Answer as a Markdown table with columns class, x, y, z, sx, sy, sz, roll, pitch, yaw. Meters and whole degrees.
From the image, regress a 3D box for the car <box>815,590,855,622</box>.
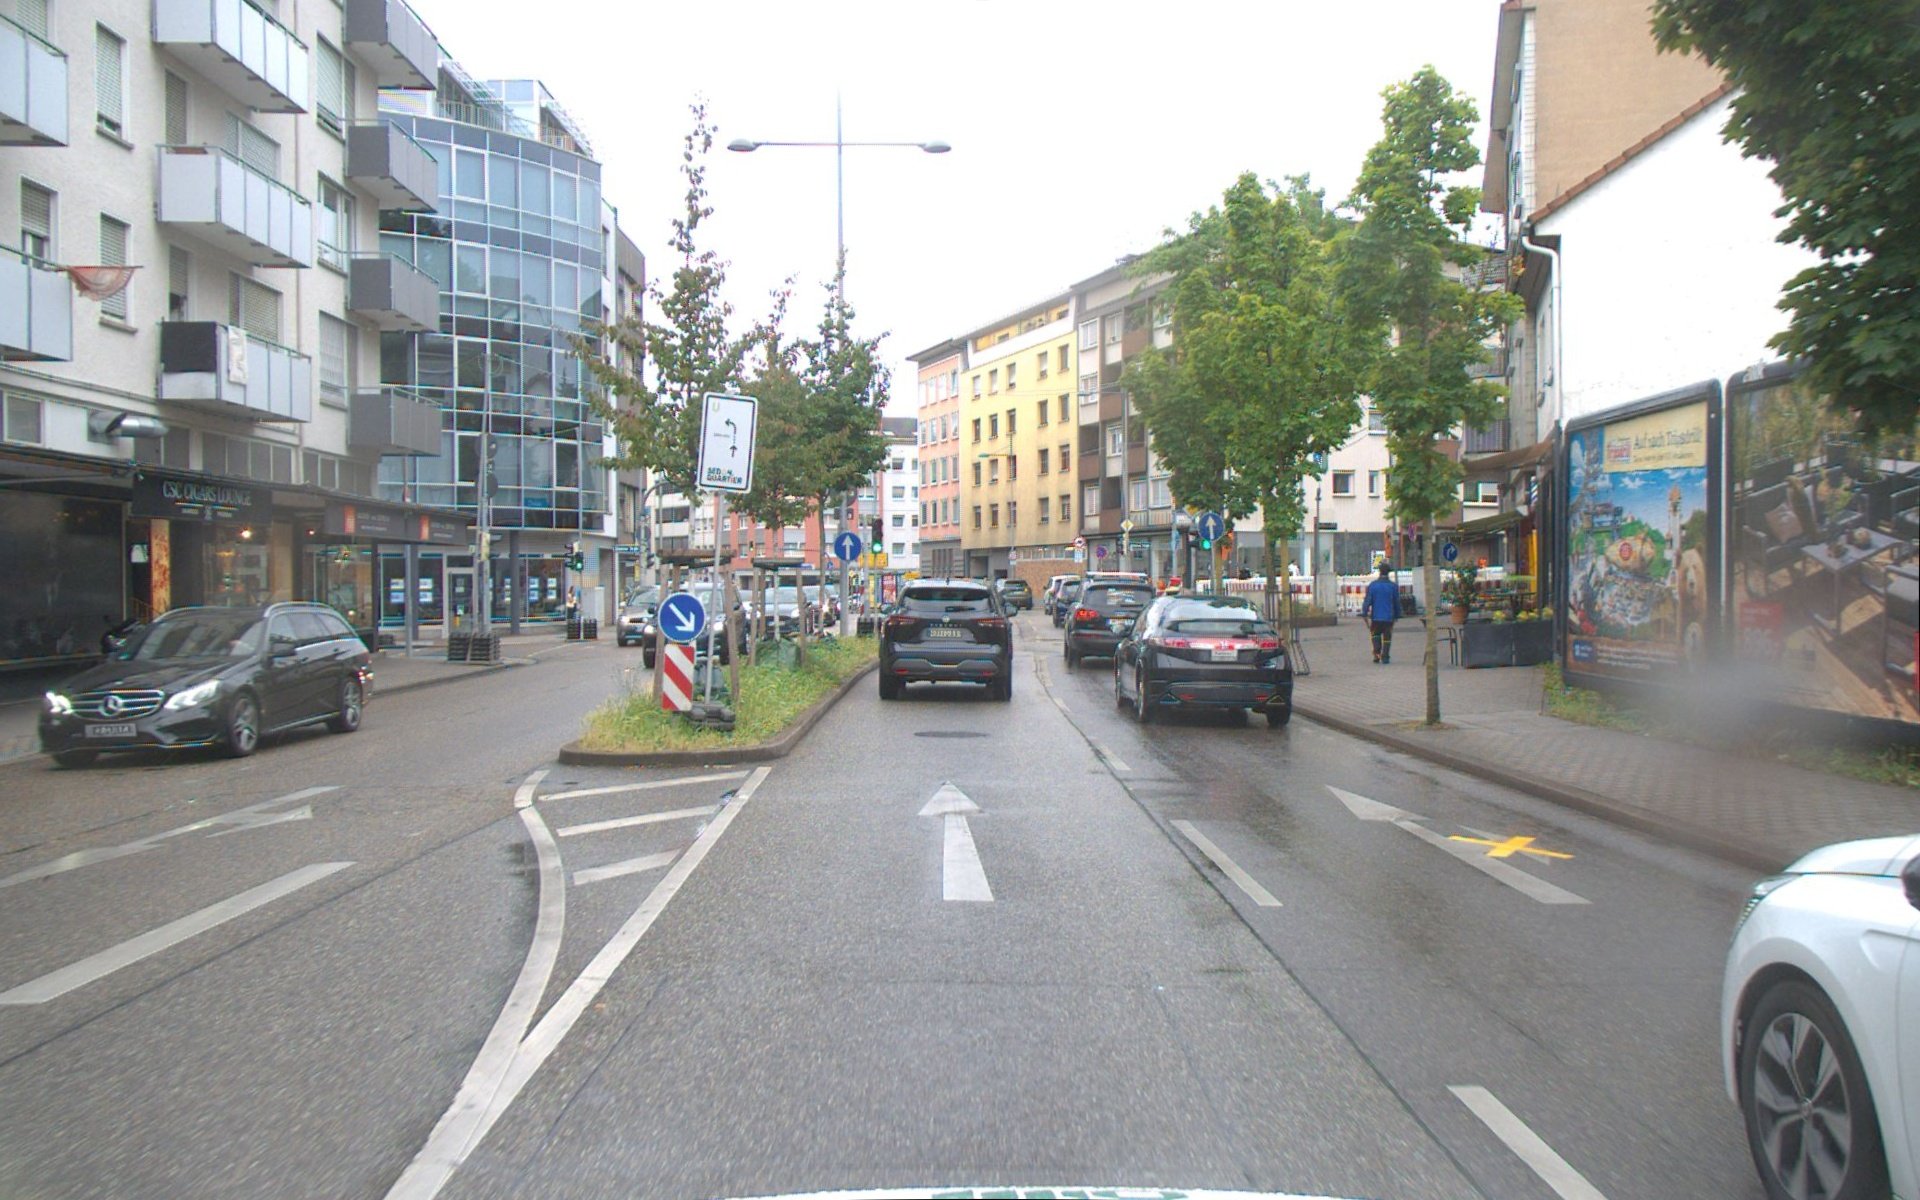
| class | x | y | z | sx | sy | sz | roll | pitch | yaw |
| --- | --- | --- | --- | --- | --- | --- | --- | --- | --- |
| car | -5.650 | 0.263 | 74.888 | 1.608 | 1.344 | 3.347 | -2 | 0 | -2 |

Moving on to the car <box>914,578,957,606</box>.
| class | x | y | z | sx | sy | sz | roll | pitch | yaw |
| --- | --- | --- | --- | --- | --- | --- | --- | --- | --- |
| car | -1.322 | -0.414 | 88.379 | 1.613 | 1.368 | 3.336 | -2 | 0 | -13 |

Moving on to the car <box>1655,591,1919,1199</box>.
| class | x | y | z | sx | sy | sz | roll | pitch | yaw |
| --- | --- | --- | --- | --- | --- | --- | --- | --- | --- |
| car | 2.824 | 0.731 | 2.756 | 1.631 | 1.420 | 3.866 | -2 | 1 | -1 |

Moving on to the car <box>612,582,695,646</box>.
| class | x | y | z | sx | sy | sz | roll | pitch | yaw |
| --- | --- | --- | --- | --- | --- | --- | --- | --- | --- |
| car | -8.511 | 0.368 | 46.209 | 1.599 | 1.619 | 3.936 | -3 | 0 | -1 |

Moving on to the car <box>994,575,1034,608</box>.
| class | x | y | z | sx | sy | sz | roll | pitch | yaw |
| --- | --- | --- | --- | --- | --- | --- | --- | --- | --- |
| car | 2.815 | -0.486 | 86.725 | 1.675 | 1.639 | 3.724 | 1 | 1 | -5 |

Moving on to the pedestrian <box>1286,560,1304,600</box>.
| class | x | y | z | sx | sy | sz | roll | pitch | yaw |
| --- | --- | --- | --- | --- | --- | --- | --- | --- | --- |
| pedestrian | 15.182 | -0.909 | 74.960 | 0.523 | 1.800 | 0.616 | 1 | 1 | -31 |

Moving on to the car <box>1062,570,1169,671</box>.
| class | x | y | z | sx | sy | sz | roll | pitch | yaw |
| --- | --- | --- | --- | --- | --- | --- | --- | --- | --- |
| car | 3.036 | 0.346 | 32.921 | 1.792 | 1.837 | 3.719 | 1 | 1 | 1 |

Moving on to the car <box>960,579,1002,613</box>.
| class | x | y | z | sx | sy | sz | roll | pitch | yaw |
| --- | --- | --- | --- | --- | --- | --- | --- | --- | --- |
| car | 0.901 | -0.190 | 72.676 | 1.608 | 1.405 | 3.347 | -2 | 0 | -2 |

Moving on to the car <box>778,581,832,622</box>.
| class | x | y | z | sx | sy | sz | roll | pitch | yaw |
| --- | --- | --- | --- | --- | --- | --- | --- | --- | --- |
| car | -5.629 | 0.034 | 60.314 | 1.636 | 1.393 | 3.752 | -2 | 0 | -1 |

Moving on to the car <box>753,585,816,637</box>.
| class | x | y | z | sx | sy | sz | roll | pitch | yaw |
| --- | --- | --- | --- | --- | --- | --- | --- | --- | --- |
| car | -5.311 | 0.321 | 50.372 | 1.501 | 1.437 | 3.936 | -3 | 0 | -1 |

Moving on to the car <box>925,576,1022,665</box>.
| class | x | y | z | sx | sy | sz | roll | pitch | yaw |
| --- | --- | --- | --- | --- | --- | --- | --- | --- | --- |
| car | 0.249 | 0.371 | 32.849 | 1.786 | 1.628 | 3.718 | 1 | 0 | 0 |

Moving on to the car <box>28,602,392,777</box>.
| class | x | y | z | sx | sy | sz | roll | pitch | yaw |
| --- | --- | --- | --- | --- | --- | --- | --- | --- | --- |
| car | -7.814 | 0.838 | 17.821 | 1.673 | 1.493 | 4.829 | -3 | 0 | 0 |

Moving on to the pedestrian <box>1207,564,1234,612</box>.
| class | x | y | z | sx | sy | sz | roll | pitch | yaw |
| --- | --- | --- | --- | --- | --- | --- | --- | --- | --- |
| pedestrian | 11.443 | -0.528 | 72.640 | 0.809 | 2.049 | 0.835 | 1 | 1 | -19 |

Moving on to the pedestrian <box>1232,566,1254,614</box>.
| class | x | y | z | sx | sy | sz | roll | pitch | yaw |
| --- | --- | --- | --- | --- | --- | --- | --- | --- | --- |
| pedestrian | 12.386 | -0.449 | 72.337 | 0.804 | 2.049 | 0.840 | 1 | 1 | 2 |

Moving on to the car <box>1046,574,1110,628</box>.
| class | x | y | z | sx | sy | sz | roll | pitch | yaw |
| --- | --- | --- | --- | --- | --- | --- | --- | --- | --- |
| car | 3.693 | -0.010 | 52.309 | 1.792 | 1.589 | 3.719 | 1 | 1 | 1 |

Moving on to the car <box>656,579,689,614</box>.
| class | x | y | z | sx | sy | sz | roll | pitch | yaw |
| --- | --- | --- | --- | --- | --- | --- | --- | --- | --- |
| car | -13.832 | -0.147 | 79.576 | 1.521 | 1.598 | 3.340 | 1 | 0 | -10 |

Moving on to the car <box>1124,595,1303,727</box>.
| class | x | y | z | sx | sy | sz | roll | pitch | yaw |
| --- | --- | --- | --- | --- | --- | --- | --- | --- | --- |
| car | 2.962 | 0.659 | 19.974 | 1.749 | 1.424 | 3.720 | 0 | 0 | 3 |

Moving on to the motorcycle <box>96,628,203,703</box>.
| class | x | y | z | sx | sy | sz | roll | pitch | yaw |
| --- | --- | --- | --- | --- | --- | --- | --- | --- | --- |
| motorcycle | -12.191 | 0.963 | 24.947 | 0.515 | 1.013 | 2.136 | 1 | 0 | 0 |

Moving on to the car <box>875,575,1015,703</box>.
| class | x | y | z | sx | sy | sz | roll | pitch | yaw |
| --- | --- | --- | --- | --- | --- | --- | --- | --- | --- |
| car | -0.200 | 0.497 | 23.330 | 1.786 | 1.628 | 3.718 | 1 | 0 | 0 |

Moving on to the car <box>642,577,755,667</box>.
| class | x | y | z | sx | sy | sz | roll | pitch | yaw |
| --- | --- | --- | --- | --- | --- | --- | --- | --- | --- |
| car | -5.342 | 0.417 | 34.200 | 1.649 | 1.690 | 4.096 | -3 | 0 | -1 |

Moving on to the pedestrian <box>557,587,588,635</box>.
| class | x | y | z | sx | sy | sz | roll | pitch | yaw |
| --- | --- | --- | --- | --- | --- | --- | --- | --- | --- |
| pedestrian | -13.587 | 0.385 | 58.040 | 0.775 | 1.618 | 0.753 | -2 | 0 | -37 |

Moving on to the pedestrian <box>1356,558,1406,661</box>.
| class | x | y | z | sx | sy | sz | roll | pitch | yaw |
| --- | --- | --- | --- | --- | --- | --- | --- | --- | --- |
| pedestrian | 7.521 | 0.164 | 29.578 | 0.774 | 1.786 | 0.872 | -2 | 0 | 12 |

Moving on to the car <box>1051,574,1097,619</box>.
| class | x | y | z | sx | sy | sz | roll | pitch | yaw |
| --- | --- | --- | --- | --- | --- | --- | --- | --- | --- |
| car | 4.678 | -0.175 | 68.111 | 1.792 | 1.713 | 3.720 | 1 | 1 | 3 |
